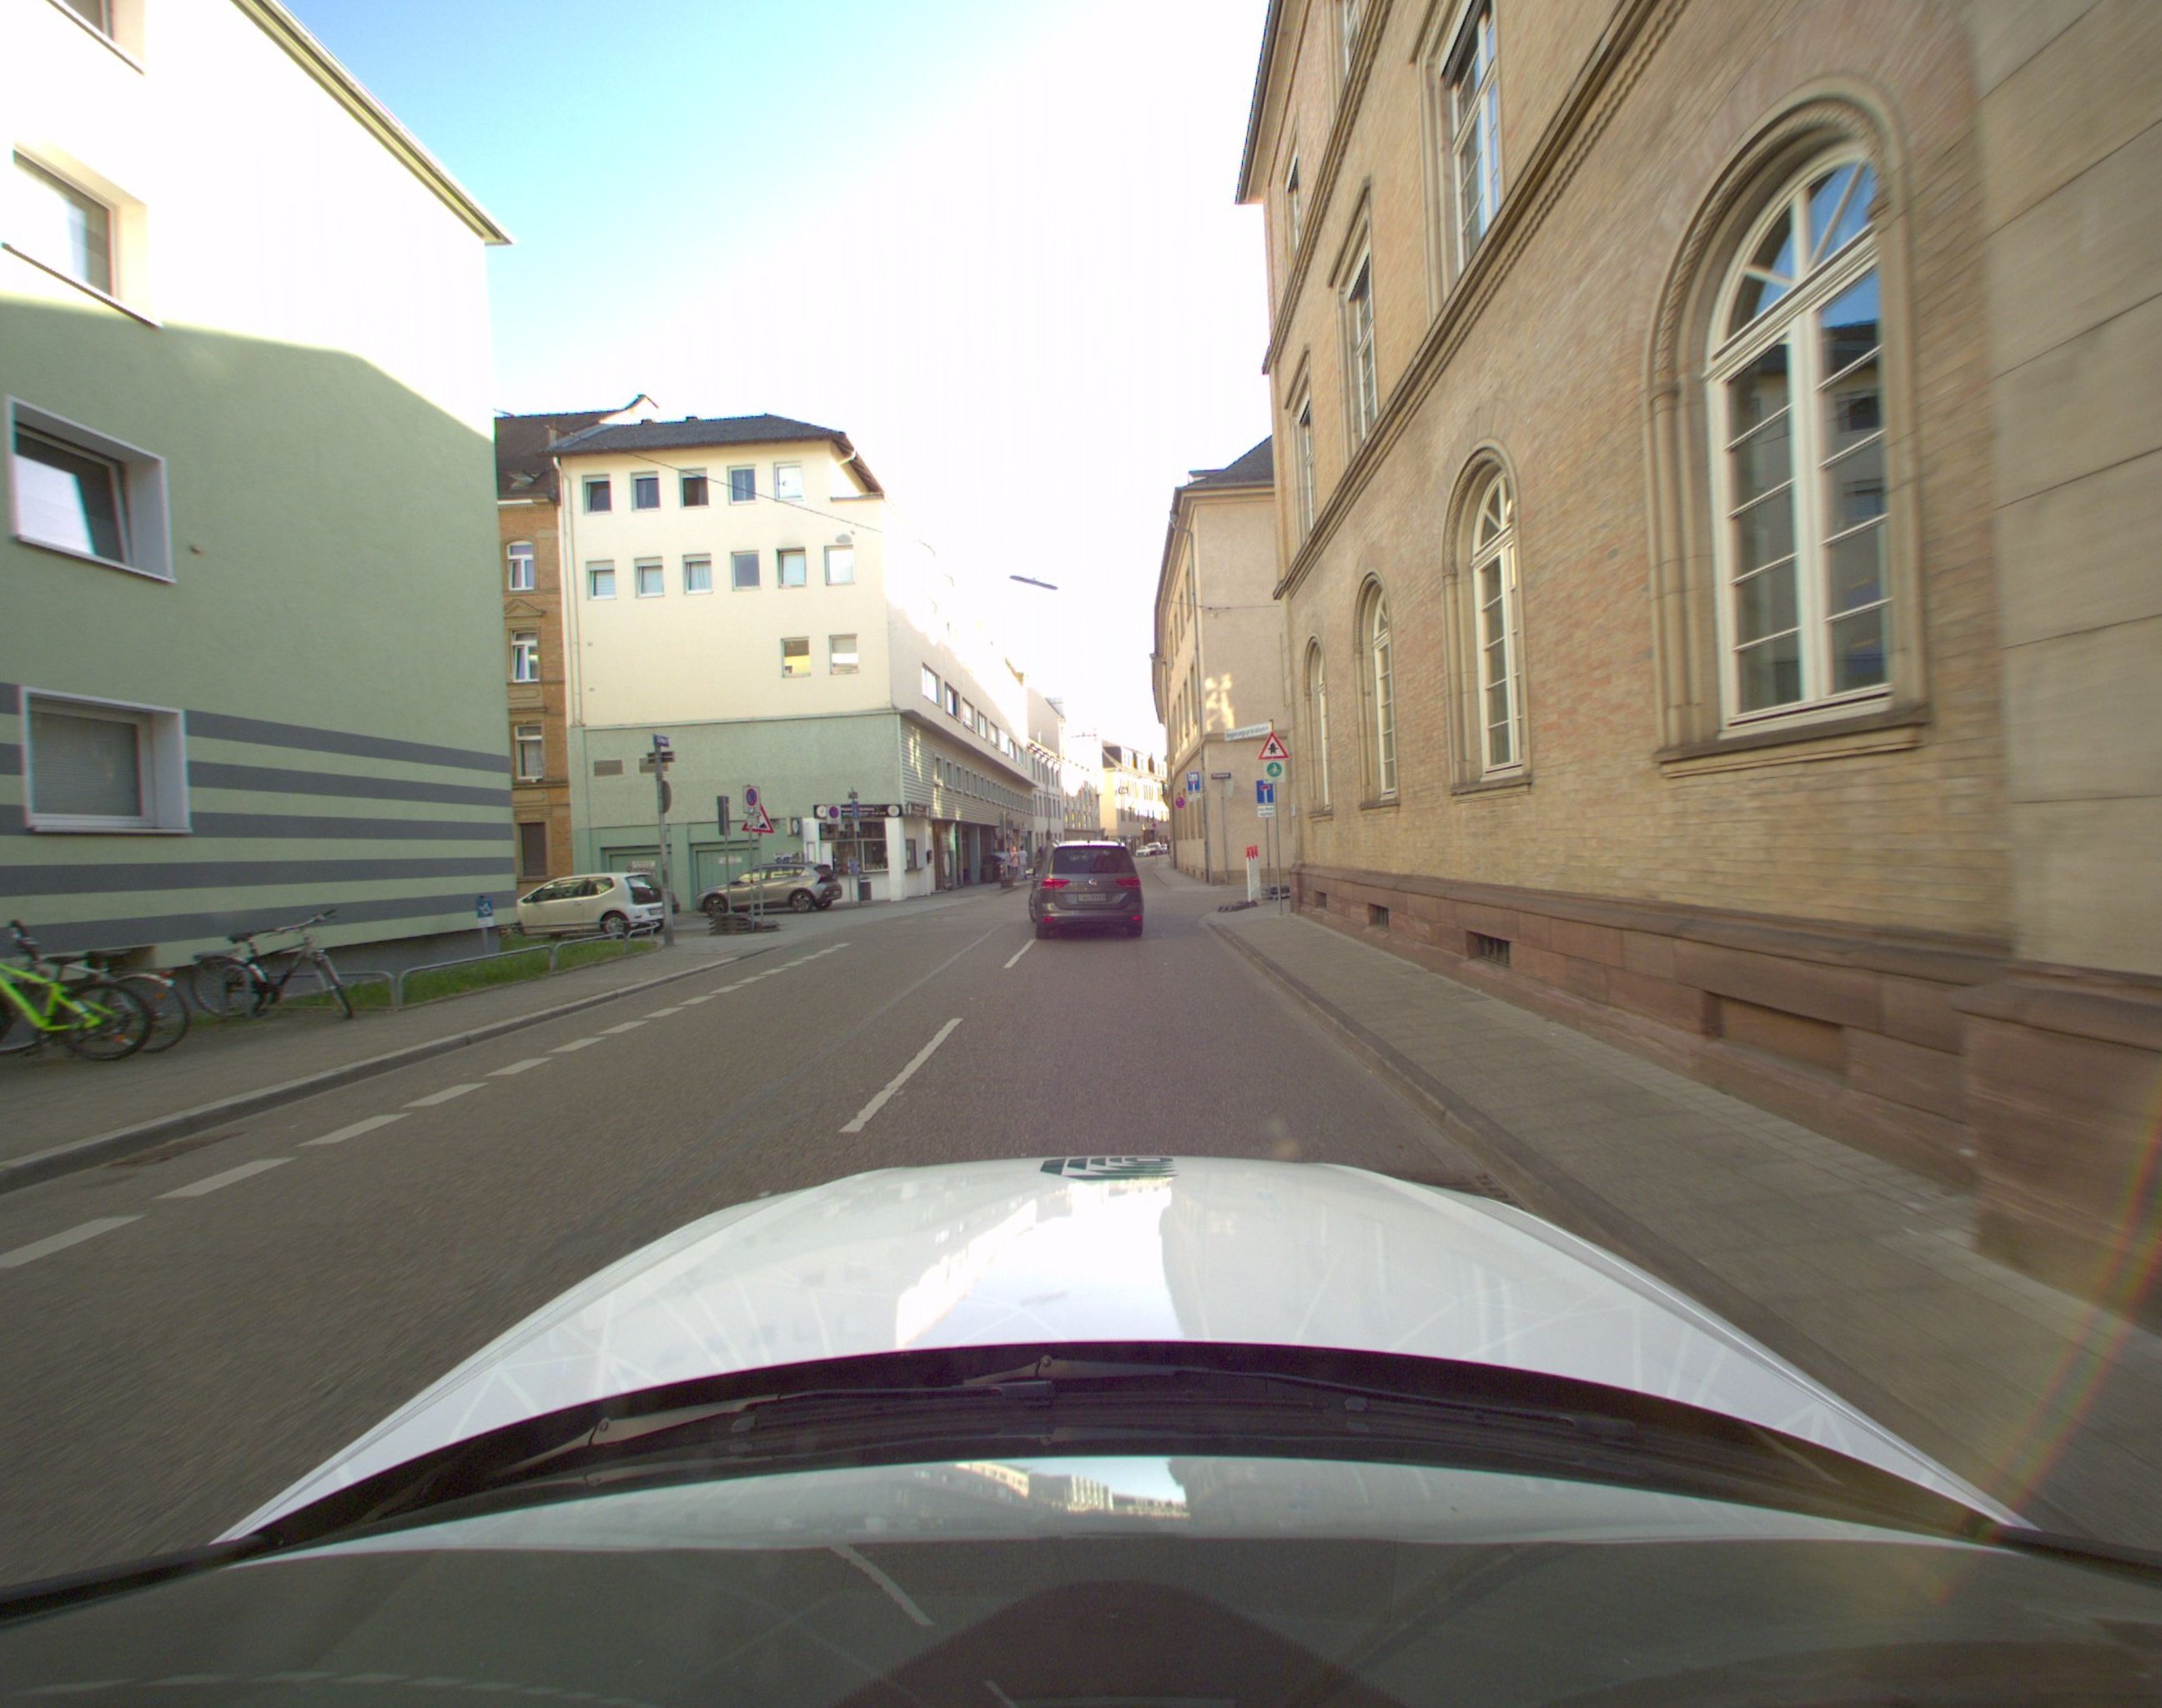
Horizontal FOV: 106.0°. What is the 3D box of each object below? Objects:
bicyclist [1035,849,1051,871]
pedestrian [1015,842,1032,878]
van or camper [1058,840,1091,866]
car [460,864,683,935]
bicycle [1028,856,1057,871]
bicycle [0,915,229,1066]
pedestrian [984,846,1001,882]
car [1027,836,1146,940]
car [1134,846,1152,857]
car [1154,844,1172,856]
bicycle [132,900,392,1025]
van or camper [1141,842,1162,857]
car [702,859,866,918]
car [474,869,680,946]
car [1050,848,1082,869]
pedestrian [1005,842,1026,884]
[{"bbox_3d":[-2.733,0.420,58.321,0.837,1.561,0.751,-3,1,-35],"label":"bicyclist"},{"bbox_3d":[-3.012,0.313,42.582,0.550,1.829,0.735,-3,0,25],"label":"pedestrian"},{"bbox_3d":[-0.502,-0.104,68.128,1.982,2.013,4.493,-3,0,8],"label":"van or camper"},{"bbox_3d":[-13.260,1.155,21.382,4.593,1.541,2.003,-3,0,4],"label":"car"},{"bbox_3d":[-2.774,0.670,58.381,0.837,1.054,2.522,-3,1,-34],"label":"bicycle"},{"bbox_3d":[-8.785,1.155,7.026,1.932,1.179,0.610,0,0,-14],"label":"bicycle"},{"bbox_3d":[-4.552,0.495,42.100,0.726,1.829,0.557,-3,0,1],"label":"pedestrian"},{"bbox_3d":[-0.035,0.511,14.646,1.759,1.607,3.993,0,0,-5],"label":"car"},{"bbox_3d":[8.727,-0.400,114.398,1.720,1.468,4.017,-3,0,16],"label":"car"},{"bbox_3d":[12.779,-0.641,126.342,1.811,1.725,4.020,-3,0,19],"label":"car"},{"bbox_3d":[-8.470,1.100,8.492,1.927,1.179,0.612,0,0,-8],"label":"bicycle"},{"bbox_3d":[10.435,-0.675,120.098,1.978,2.013,5.022,-2,1,18],"label":"van or camper"},{"bbox_3d":[-8.837,1.001,24.490,4.081,1.442,1.949,-3,1,3],"label":"car"},{"bbox_3d":[-11.449,1.190,18.669,3.486,1.442,1.815,-3,1,3],"label":"car"},{"bbox_3d":[-1.130,0.323,62.405,1.856,1.468,3.841,-2,1,7],"label":"car"},{"bbox_3d":[-2.884,0.381,35.906,0.550,1.829,0.735,-3,0,25],"label":"pedestrian"}]
